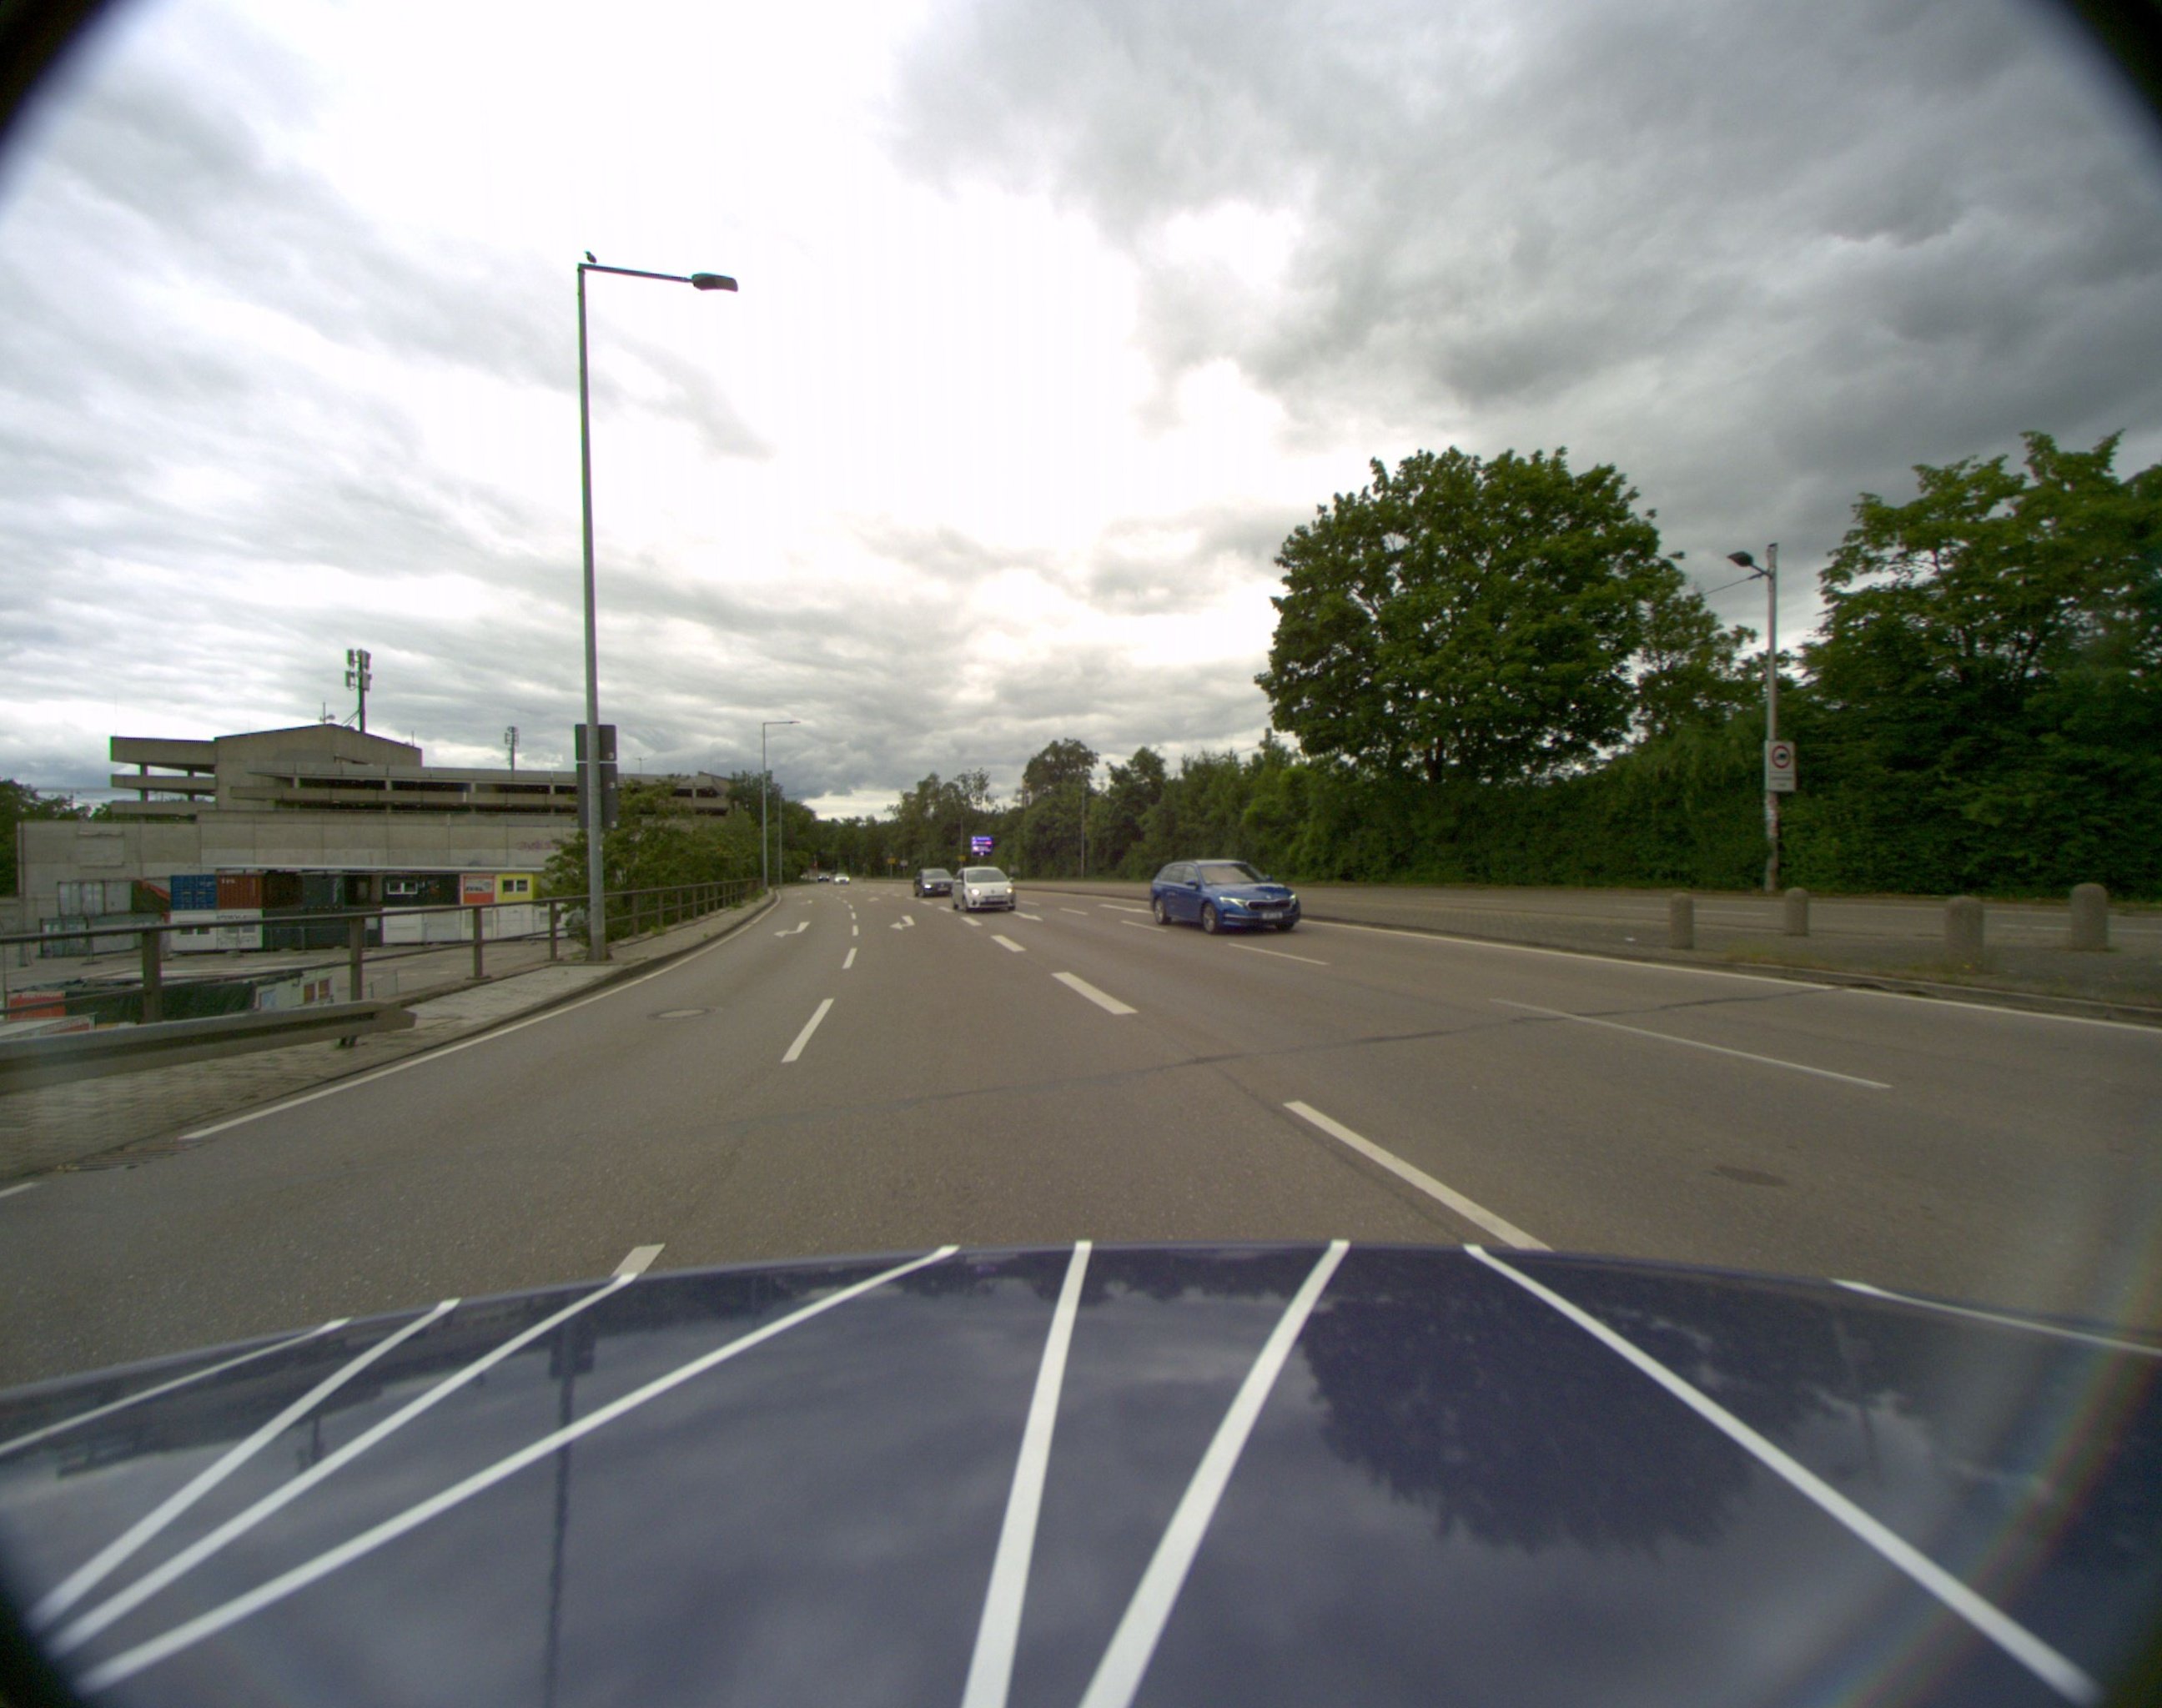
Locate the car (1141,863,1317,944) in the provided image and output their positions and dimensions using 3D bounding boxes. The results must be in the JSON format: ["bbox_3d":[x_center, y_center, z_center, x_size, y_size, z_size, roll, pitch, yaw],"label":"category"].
[{"bbox_3d":[2.952,0.935,16.311,1.844,1.408,4.574,-2,0,-15],"label":"car"}]

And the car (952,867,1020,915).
[{"bbox_3d":[-3.231,1.173,25.290,1.611,1.408,3.586,-2,0,-17],"label":"car"}]

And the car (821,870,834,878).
[{"bbox_3d":[-47.564,3.799,142.540,1.868,1.408,4.331,-2,0,-22],"label":"car"}]

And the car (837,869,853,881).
[{"bbox_3d":[-31.177,2.767,100.277,1.867,1.408,4.331,-2,0,-20],"label":"car"}]

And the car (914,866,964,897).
[{"bbox_3d":[-7.358,1.371,39.138,1.867,1.408,4.332,-2,0,-19],"label":"car"}]
